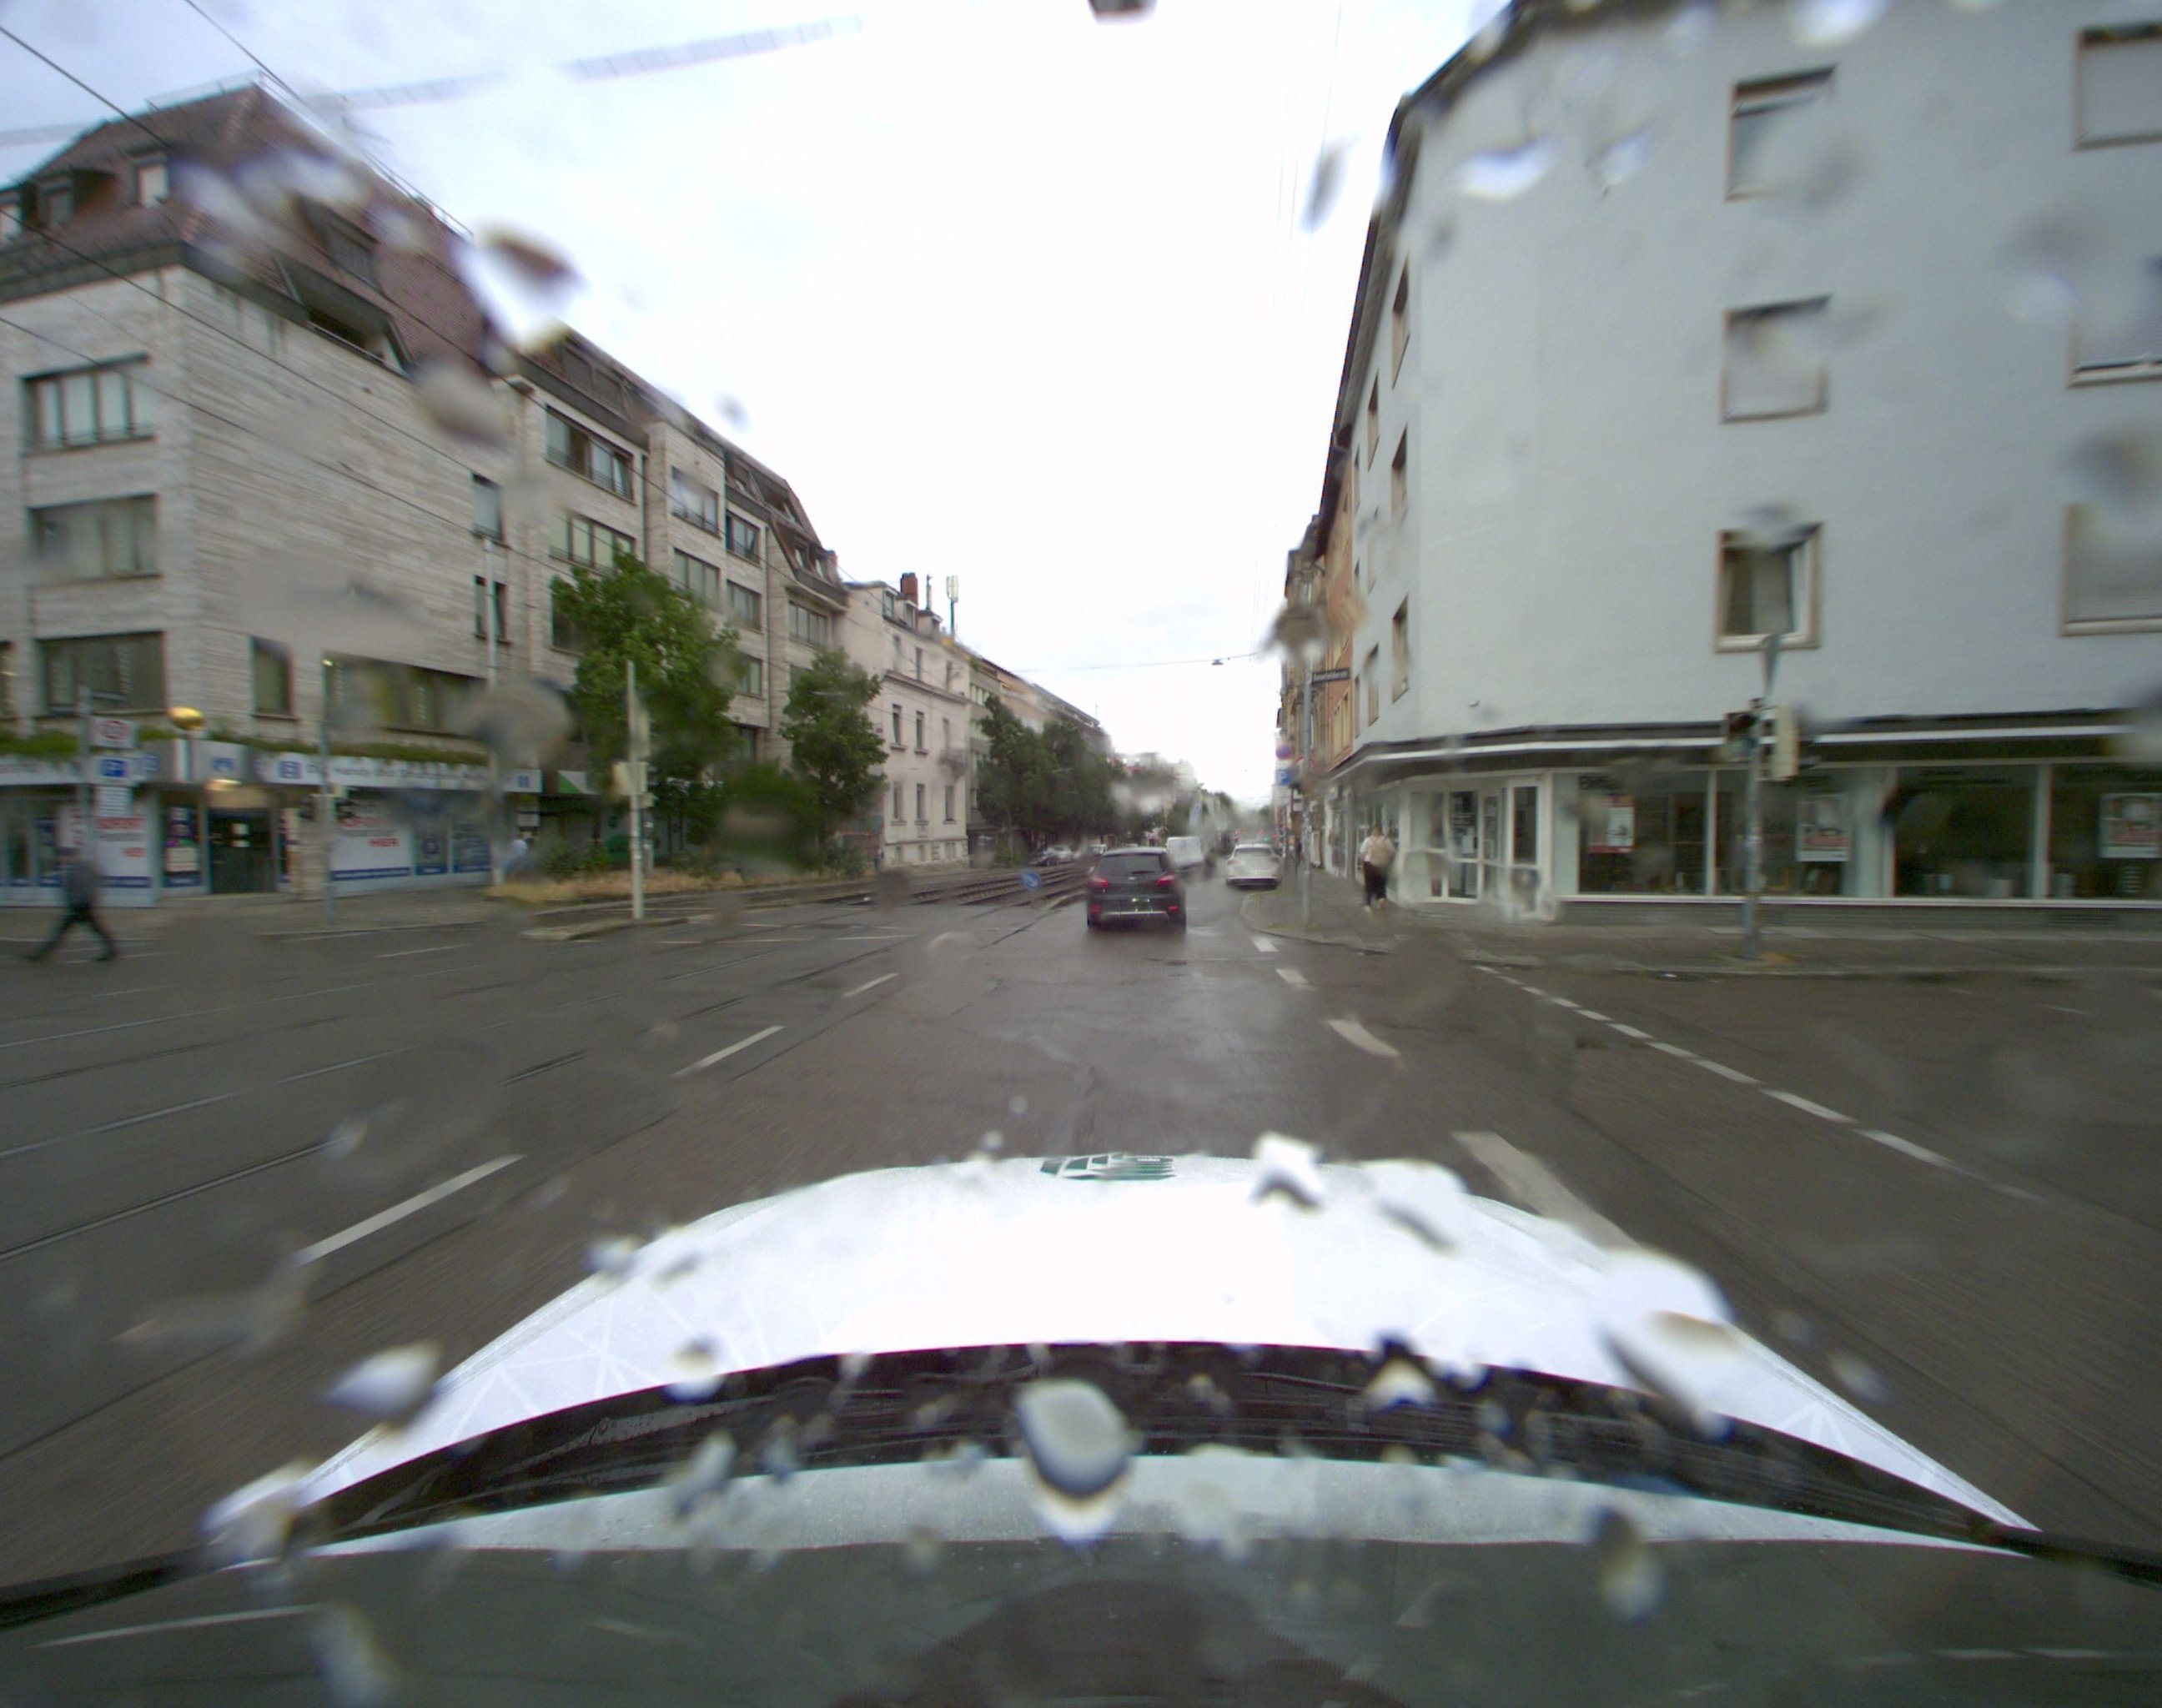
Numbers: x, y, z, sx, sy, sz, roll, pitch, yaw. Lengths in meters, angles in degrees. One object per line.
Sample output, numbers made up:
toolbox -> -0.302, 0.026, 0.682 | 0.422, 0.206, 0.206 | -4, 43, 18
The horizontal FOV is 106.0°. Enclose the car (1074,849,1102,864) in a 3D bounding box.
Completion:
car -> 0.745, 0.252, 82.314 | 1.842, 1.418, 4.447 | -2, -1, 13

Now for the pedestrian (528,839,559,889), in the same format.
pedestrian -> -17.430, 0.333, 26.398 | 0.500, 1.598, 0.587 | 2, -1, 11

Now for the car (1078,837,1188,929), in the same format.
car -> 0.973, 0.515, 15.751 | 1.835, 1.507, 4.002 | -1, -1, 2

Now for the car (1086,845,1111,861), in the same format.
car -> 1.925, -0.121, 88.364 | 1.842, 1.701, 4.447 | 0, -1, 13

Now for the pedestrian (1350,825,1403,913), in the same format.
pedestrian -> 5.425, 0.276, 15.008 | 0.685, 1.572, 0.763 | -1, -1, 1

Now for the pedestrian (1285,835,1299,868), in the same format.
pedestrian -> 11.897, -0.167, 45.938 | 0.698, 1.819, 0.965 | -3, 1, 13

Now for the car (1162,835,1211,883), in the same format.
car -> 4.921, 0.186, 37.478 | 1.976, 2.060, 4.659 | 0, 1, 10

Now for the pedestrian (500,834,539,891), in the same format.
pedestrian -> -17.539, 0.259, 25.436 | 0.643, 1.724, 0.686 | 2, -1, 11

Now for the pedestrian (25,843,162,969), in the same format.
pedestrian -> -15.039, 0.774, 12.435 | 0.926, 1.830, 0.961 | -1, -1, 5

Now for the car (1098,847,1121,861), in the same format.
car -> 3.321, -0.003, 94.117 | 1.842, 1.527, 4.060 | 0, -1, 13

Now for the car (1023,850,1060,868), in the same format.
car -> -3.083, 0.410, 65.152 | 1.682, 1.377, 4.737 | 0, -1, 13

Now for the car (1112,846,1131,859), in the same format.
car -> 5.051, -0.126, 100.858 | 1.656, 1.558, 4.060 | 0, -1, 13

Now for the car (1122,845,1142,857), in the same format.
car -> 6.899, -0.378, 110.298 | 1.842, 1.637, 4.952 | 0, -1, 13

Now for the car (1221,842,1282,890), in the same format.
car -> 5.751, 0.393, 27.159 | 1.789, 1.455, 4.603 | -1, -1, 13

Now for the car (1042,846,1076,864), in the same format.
car -> -1.881, 0.094, 71.033 | 1.842, 1.548, 4.737 | 0, -1, 13

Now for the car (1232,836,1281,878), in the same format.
car -> 7.372, 0.143, 34.024 | 1.832, 1.632, 4.603 | 0, -1, 13

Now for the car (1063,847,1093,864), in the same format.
car -> -0.244, 0.169, 77.358 | 1.842, 1.548, 4.447 | 0, -1, 13

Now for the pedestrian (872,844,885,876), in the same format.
pedestrian -> -10.713, 0.335, 43.110 | 0.466, 1.652, 0.582 | 2, -1, 1

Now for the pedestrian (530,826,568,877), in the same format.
pedestrian -> -16.717, -0.081, 25.598 | 0.643, 1.549, 0.686 | 2, -1, 11

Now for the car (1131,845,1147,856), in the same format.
car -> 8.330, -0.493, 116.948 | 1.683, 1.573, 4.060 | 0, -1, 13
